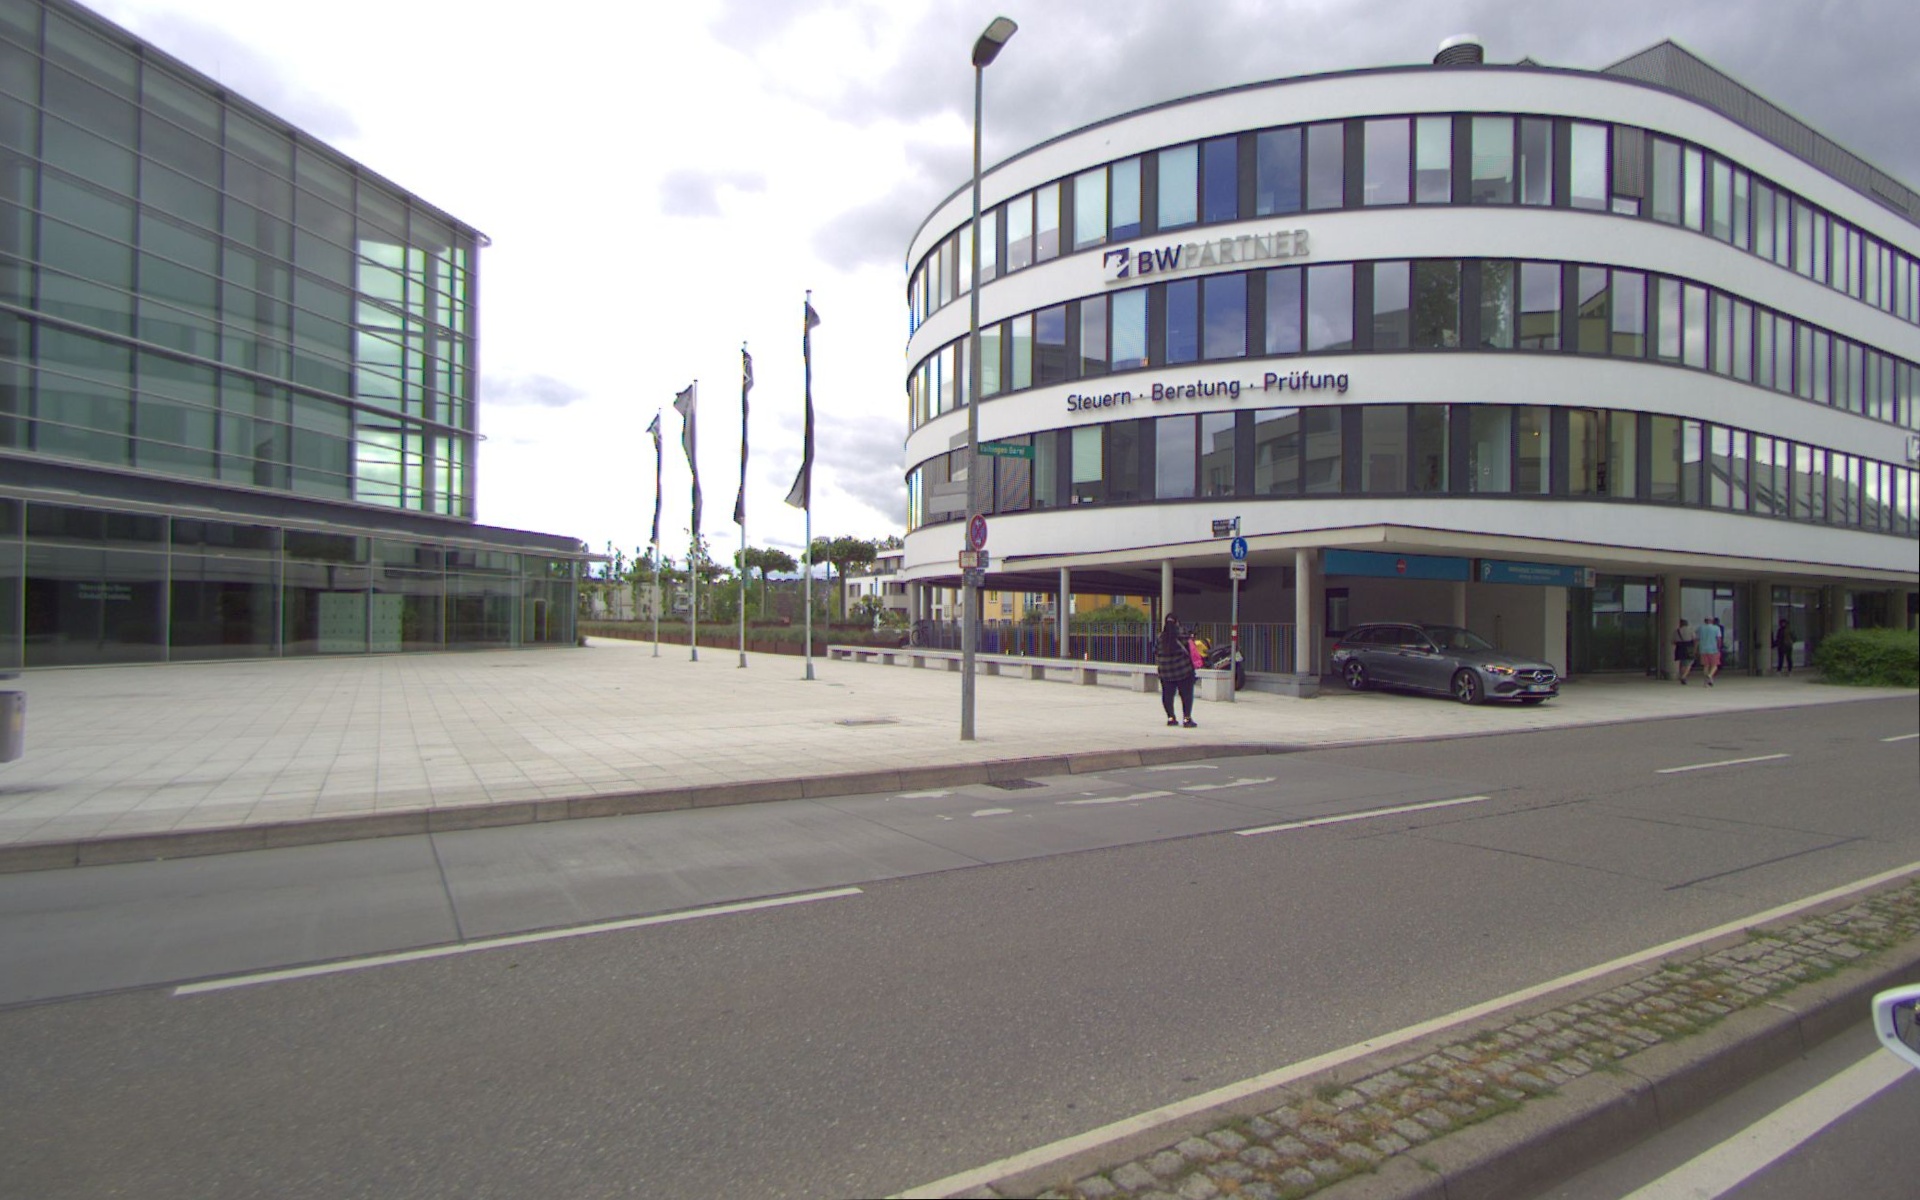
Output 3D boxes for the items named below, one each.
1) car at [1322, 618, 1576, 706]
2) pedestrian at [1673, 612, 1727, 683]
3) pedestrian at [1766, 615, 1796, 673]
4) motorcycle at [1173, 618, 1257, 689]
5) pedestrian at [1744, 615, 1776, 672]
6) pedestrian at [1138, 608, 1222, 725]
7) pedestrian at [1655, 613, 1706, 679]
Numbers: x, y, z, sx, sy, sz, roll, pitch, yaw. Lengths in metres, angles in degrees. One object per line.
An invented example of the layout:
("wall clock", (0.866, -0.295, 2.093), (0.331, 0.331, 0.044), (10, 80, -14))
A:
("car", (9.516, 1.134, 19.997), (1.875, 1.434, 4.448), (1, 0, -21))
("pedestrian", (18.144, 1.149, 24.626), (0.920, 1.696, 0.727), (1, 1, -28))
("pedestrian", (24.876, 1.323, 30.448), (0.604, 1.732, 0.505), (0, -1, 30))
("motorcycle", (5.277, 1.087, 20.879), (0.627, 1.351, 1.848), (1, 1, -26))
("pedestrian", (24.909, 1.351, 31.281), (0.603, 1.752, 0.506), (0, -1, 1))
("pedestrian", (3.115, 0.922, 14.273), (0.802, 1.588, 0.827), (1, 0, -25))
("pedestrian", (18.487, 1.160, 25.776), (0.920, 1.635, 0.727), (1, 1, -28))
